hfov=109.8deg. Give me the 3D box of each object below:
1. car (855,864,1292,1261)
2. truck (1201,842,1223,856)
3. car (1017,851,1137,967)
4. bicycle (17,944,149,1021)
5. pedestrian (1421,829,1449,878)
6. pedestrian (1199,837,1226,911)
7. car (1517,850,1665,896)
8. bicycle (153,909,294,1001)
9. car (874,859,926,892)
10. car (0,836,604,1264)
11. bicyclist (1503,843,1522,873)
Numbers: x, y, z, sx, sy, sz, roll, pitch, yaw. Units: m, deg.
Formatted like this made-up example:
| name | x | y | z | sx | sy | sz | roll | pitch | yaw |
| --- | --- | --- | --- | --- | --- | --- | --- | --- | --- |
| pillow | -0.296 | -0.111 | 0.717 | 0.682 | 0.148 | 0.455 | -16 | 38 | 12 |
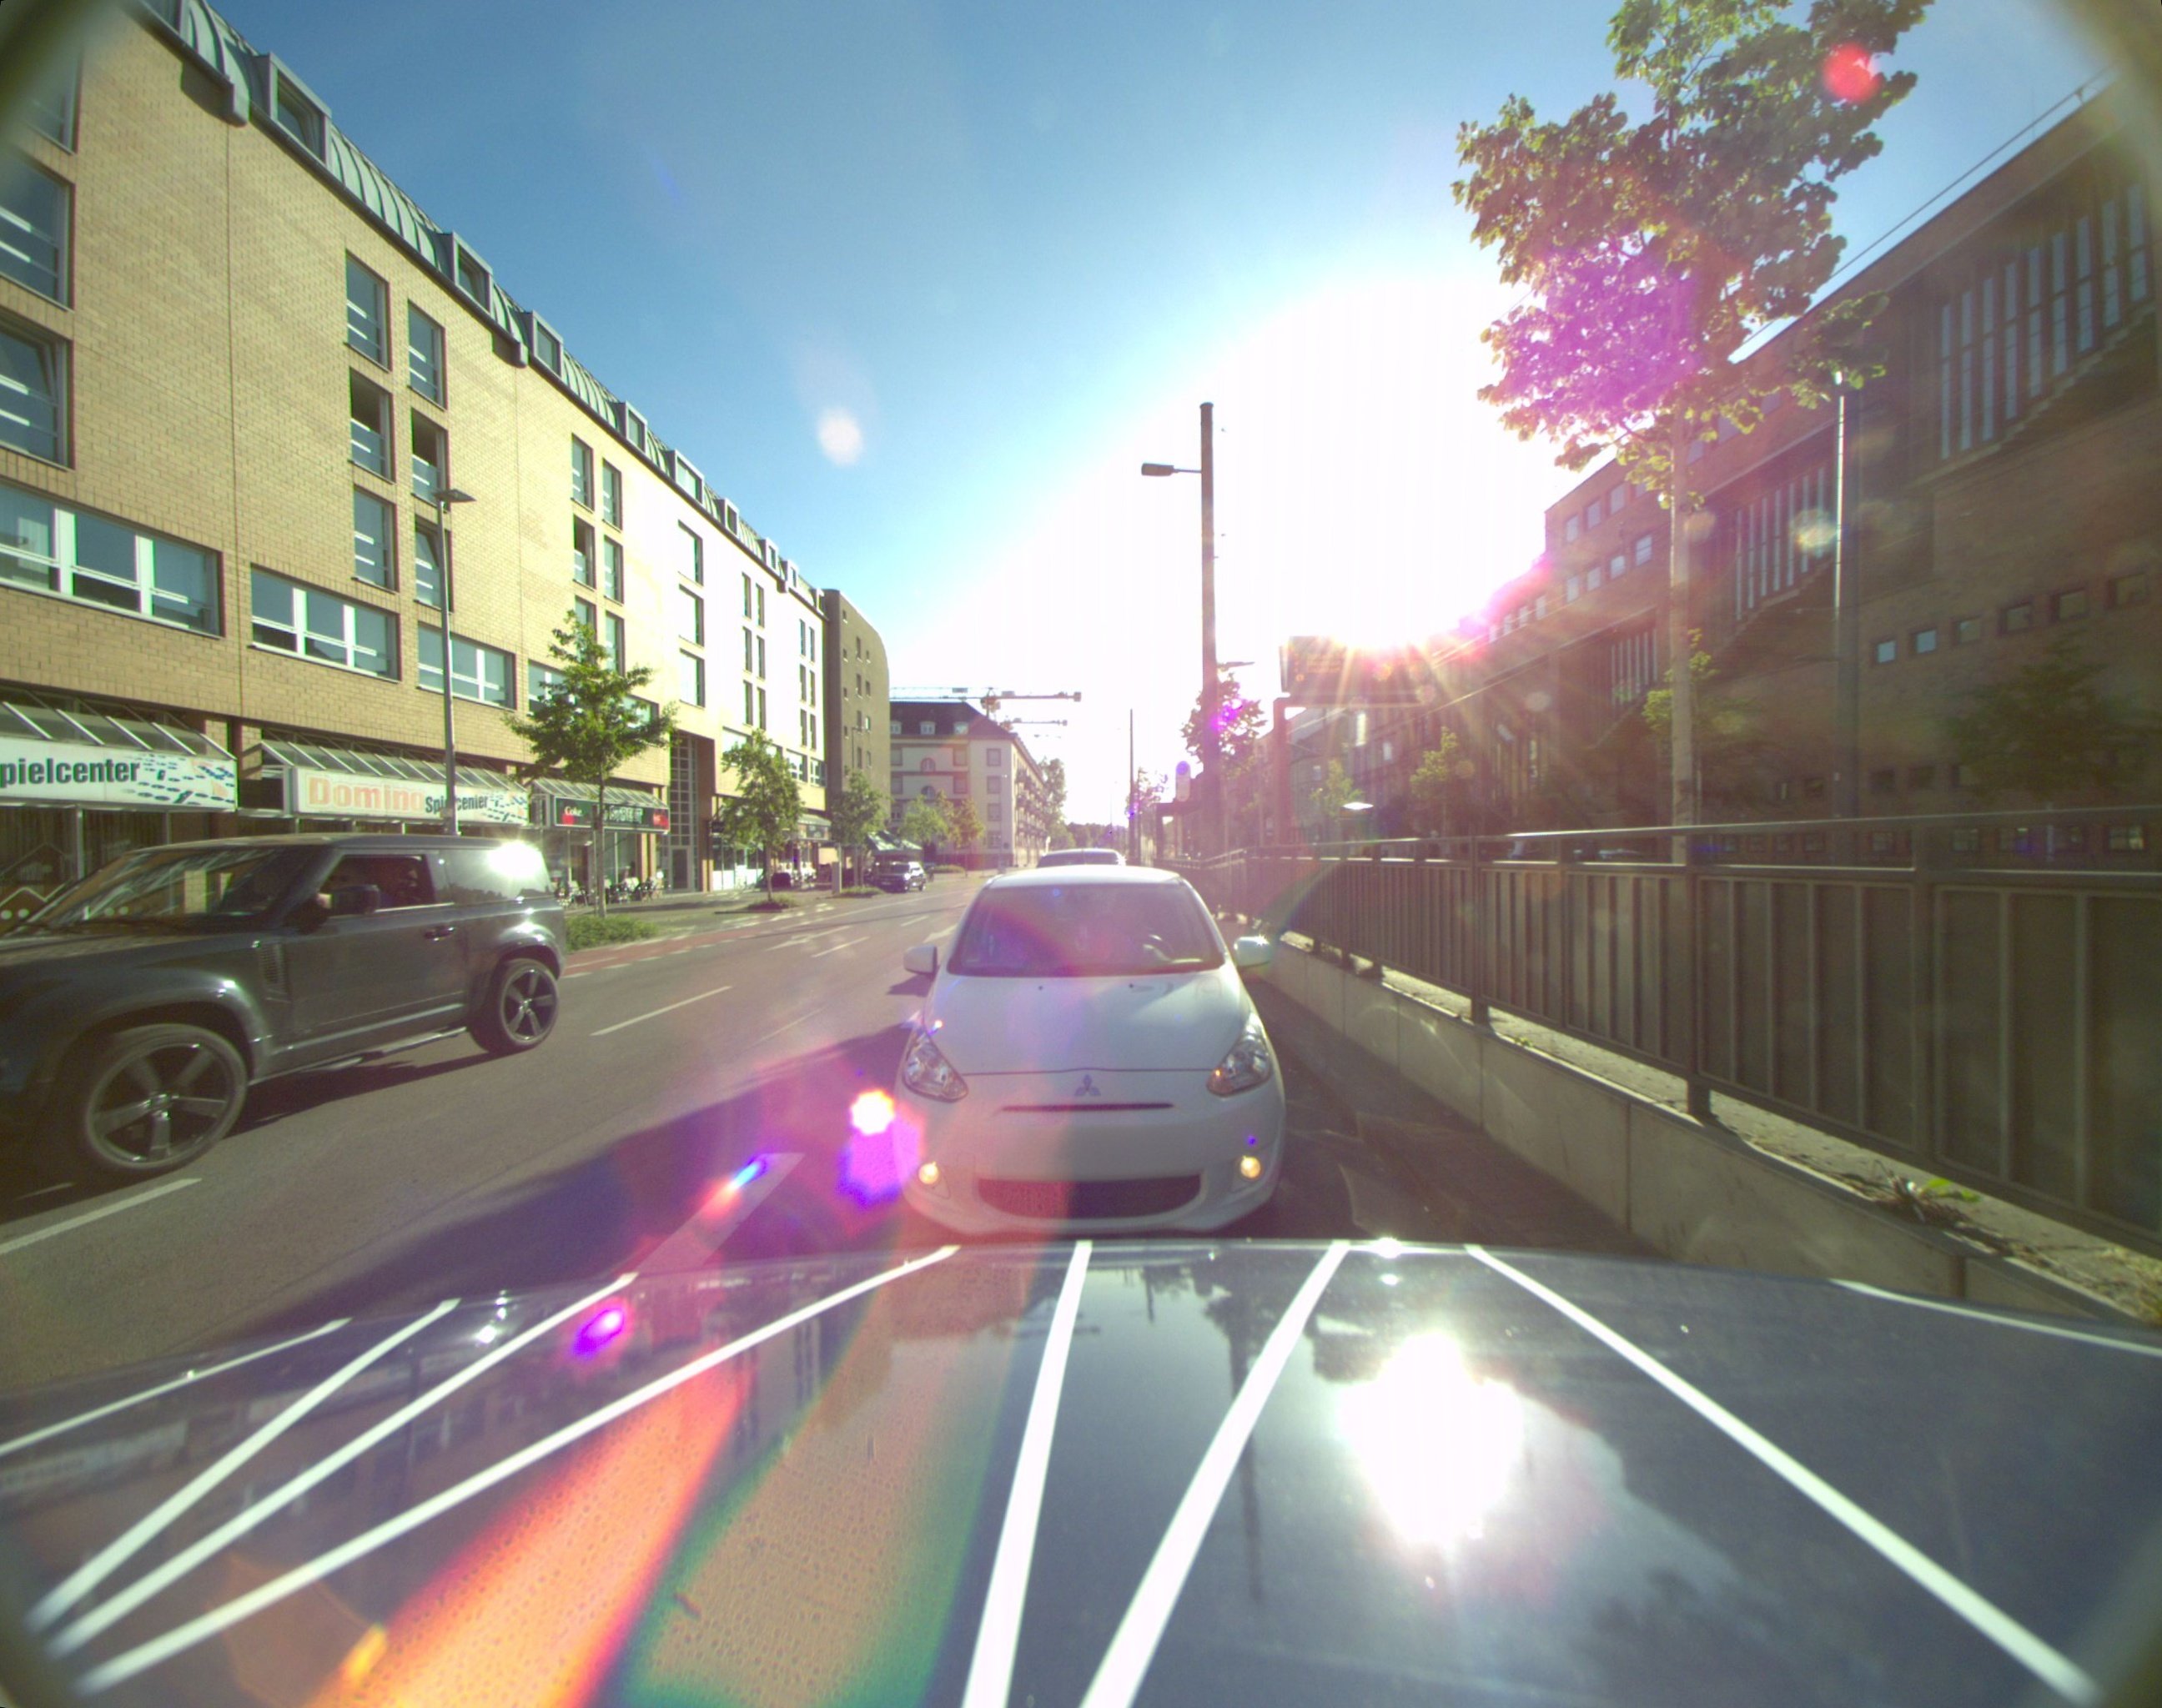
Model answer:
| name | x | y | z | sx | sy | sz | roll | pitch | yaw |
| --- | --- | --- | --- | --- | --- | --- | --- | --- | --- |
| car | -0.031 | 0.882 | 5.204 | 1.720 | 1.422 | 4.215 | -2 | 1 | 0 |
| truck | 17.643 | -0.693 | 102.828 | 1.999 | 1.868 | 5.155 | 1 | 0 | 0 |
| car | -0.059 | 0.817 | 13.435 | 1.720 | 1.591 | 4.215 | -2 | 1 | 0 |
| bicycle | -12.921 | 1.643 | 9.833 | 1.772 | 0.827 | 0.366 | 1 | 2 | 15 |
| pedestrian | 13.156 | -0.022 | 28.252 | 0.685 | 1.797 | 0.668 | -2 | 2 | 0 |
| pedestrian | 4.367 | 0.652 | 25.180 | 0.684 | 2.428 | 0.626 | -2 | 2 | -2 |
| car | 17.308 | 0.595 | 26.103 | 1.830 | 1.422 | 4.528 | -1 | 0 | -3 |
| bicycle | -12.337 | 1.423 | 10.938 | 1.835 | 1.156 | 0.565 | 1 | 2 | 15 |
| car | -9.859 | 1.147 | 41.639 | 1.779 | 1.630 | 4.000 | -1 | 0 | 1 |
| car | -5.923 | 0.935 | 5.415 | 2.164 | 1.903 | 4.473 | -2 | -1 | 0 |
| bicyclist | 22.430 | 0.177 | 39.465 | 0.588 | 1.525 | 0.650 | -2 | 2 | 1 |
